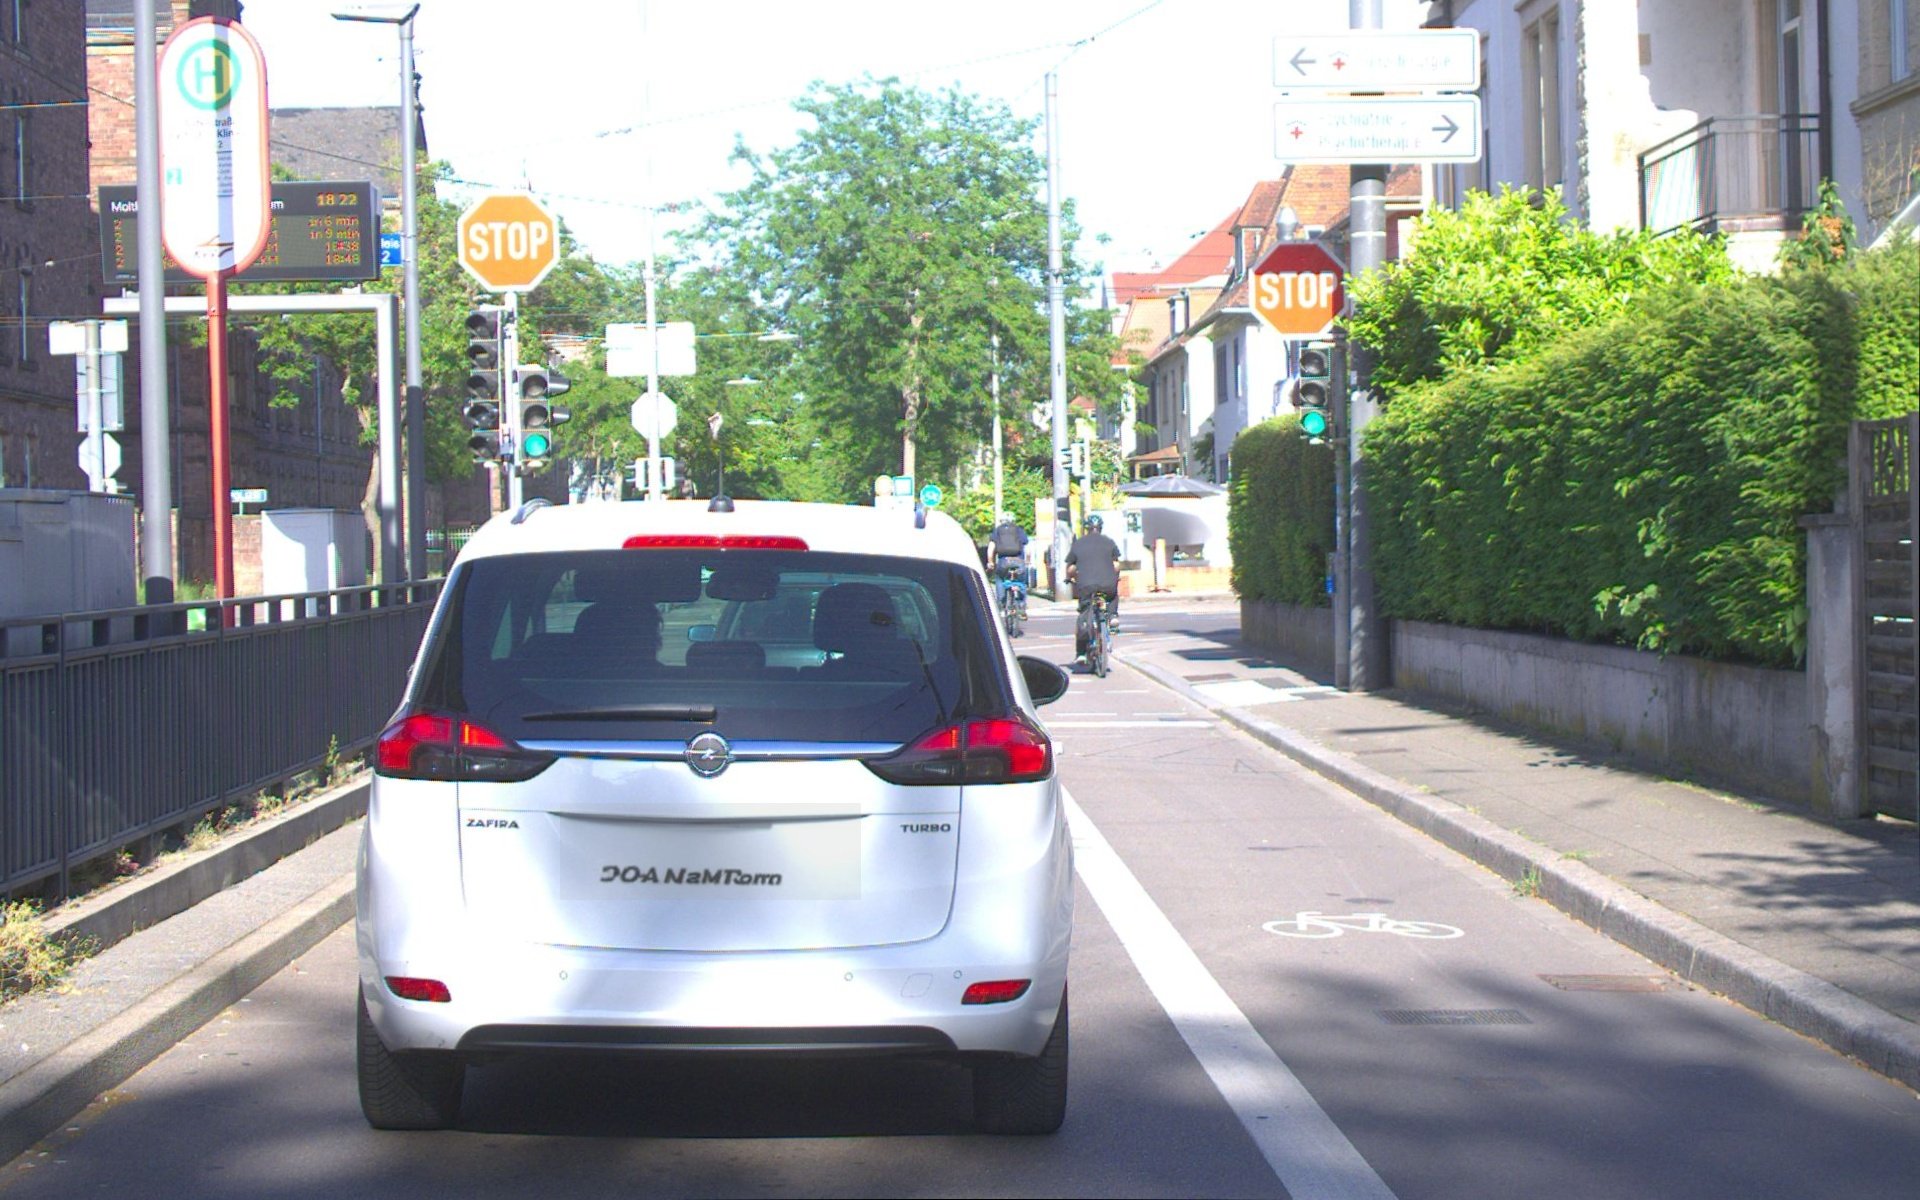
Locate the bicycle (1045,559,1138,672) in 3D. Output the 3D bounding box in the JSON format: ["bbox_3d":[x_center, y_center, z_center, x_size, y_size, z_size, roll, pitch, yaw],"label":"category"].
[{"bbox_3d":[1.378,0.145,36.426,0.829,1.150,2.095,-1,1,-2],"label":"bicycle"}]

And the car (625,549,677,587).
[{"bbox_3d":[-11.746,-1.223,130.759,1.581,1.436,3.584,0,1,1],"label":"car"}]

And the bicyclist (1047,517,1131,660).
[{"bbox_3d":[1.363,-0.125,36.423,0.821,1.496,0.934,-1,1,-2],"label":"bicyclist"}]

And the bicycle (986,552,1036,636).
[{"bbox_3d":[0.718,-0.097,48.337,0.685,1.153,1.619,0,1,1],"label":"bicycle"}]

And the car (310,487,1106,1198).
[{"bbox_3d":[-0.604,0.539,9.946,1.835,1.636,3.919,0,1,-1],"label":"car"}]

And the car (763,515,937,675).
[{"bbox_3d":[-1.169,-0.074,37.300,1.776,1.626,3.881,0,1,-1],"label":"car"}]

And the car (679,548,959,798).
[{"bbox_3d":[-0.840,0.405,22.399,1.586,1.415,3.900,-1,1,1],"label":"car"}]

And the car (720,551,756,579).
[{"bbox_3d":[-11.693,-1.868,181.332,1.581,1.436,3.584,0,1,1],"label":"car"}]

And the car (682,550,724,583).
[{"bbox_3d":[-11.510,-1.523,154.140,1.581,1.436,3.584,0,1,1],"label":"car"}]

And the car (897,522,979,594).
[{"bbox_3d":[-0.485,-0.973,79.642,1.776,1.626,3.880,0,1,1],"label":"car"}]

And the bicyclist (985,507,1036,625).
[{"bbox_3d":[0.714,-0.479,48.399,0.685,1.629,1.015,0,1,1],"label":"bicyclist"}]
